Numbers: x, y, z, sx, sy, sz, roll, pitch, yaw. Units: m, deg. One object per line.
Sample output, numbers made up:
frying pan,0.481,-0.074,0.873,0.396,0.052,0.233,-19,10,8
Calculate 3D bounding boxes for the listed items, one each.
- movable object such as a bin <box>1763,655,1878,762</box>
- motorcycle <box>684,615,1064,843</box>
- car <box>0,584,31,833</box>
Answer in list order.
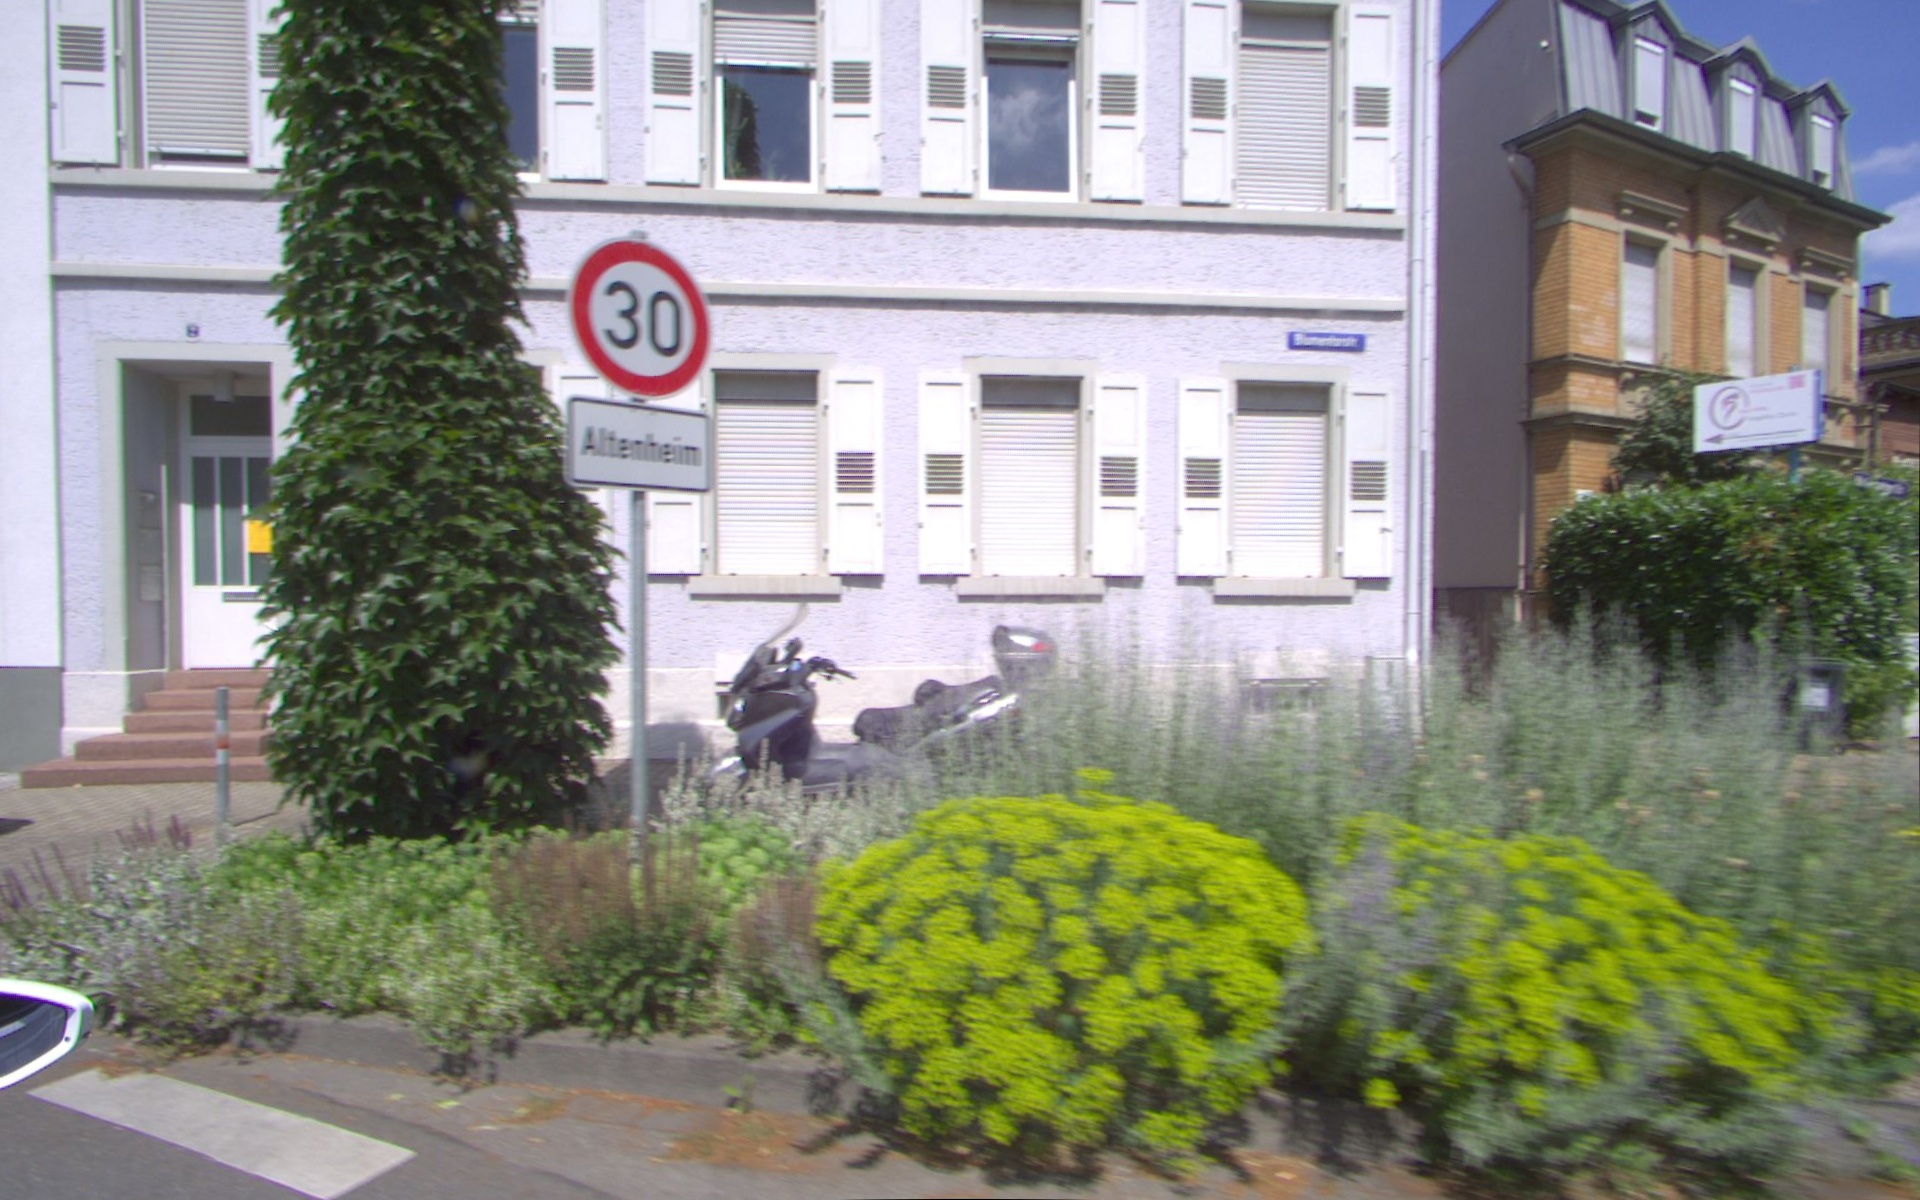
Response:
movable object such as a bin,8.399,1.040,9.799,0.622,0.974,0.617,0,1,13
motorcycle,-0.518,0.786,6.457,2.292,1.370,0.802,0,1,0
car,-8.223,0.775,5.987,3.726,1.633,1.731,-1,3,3
